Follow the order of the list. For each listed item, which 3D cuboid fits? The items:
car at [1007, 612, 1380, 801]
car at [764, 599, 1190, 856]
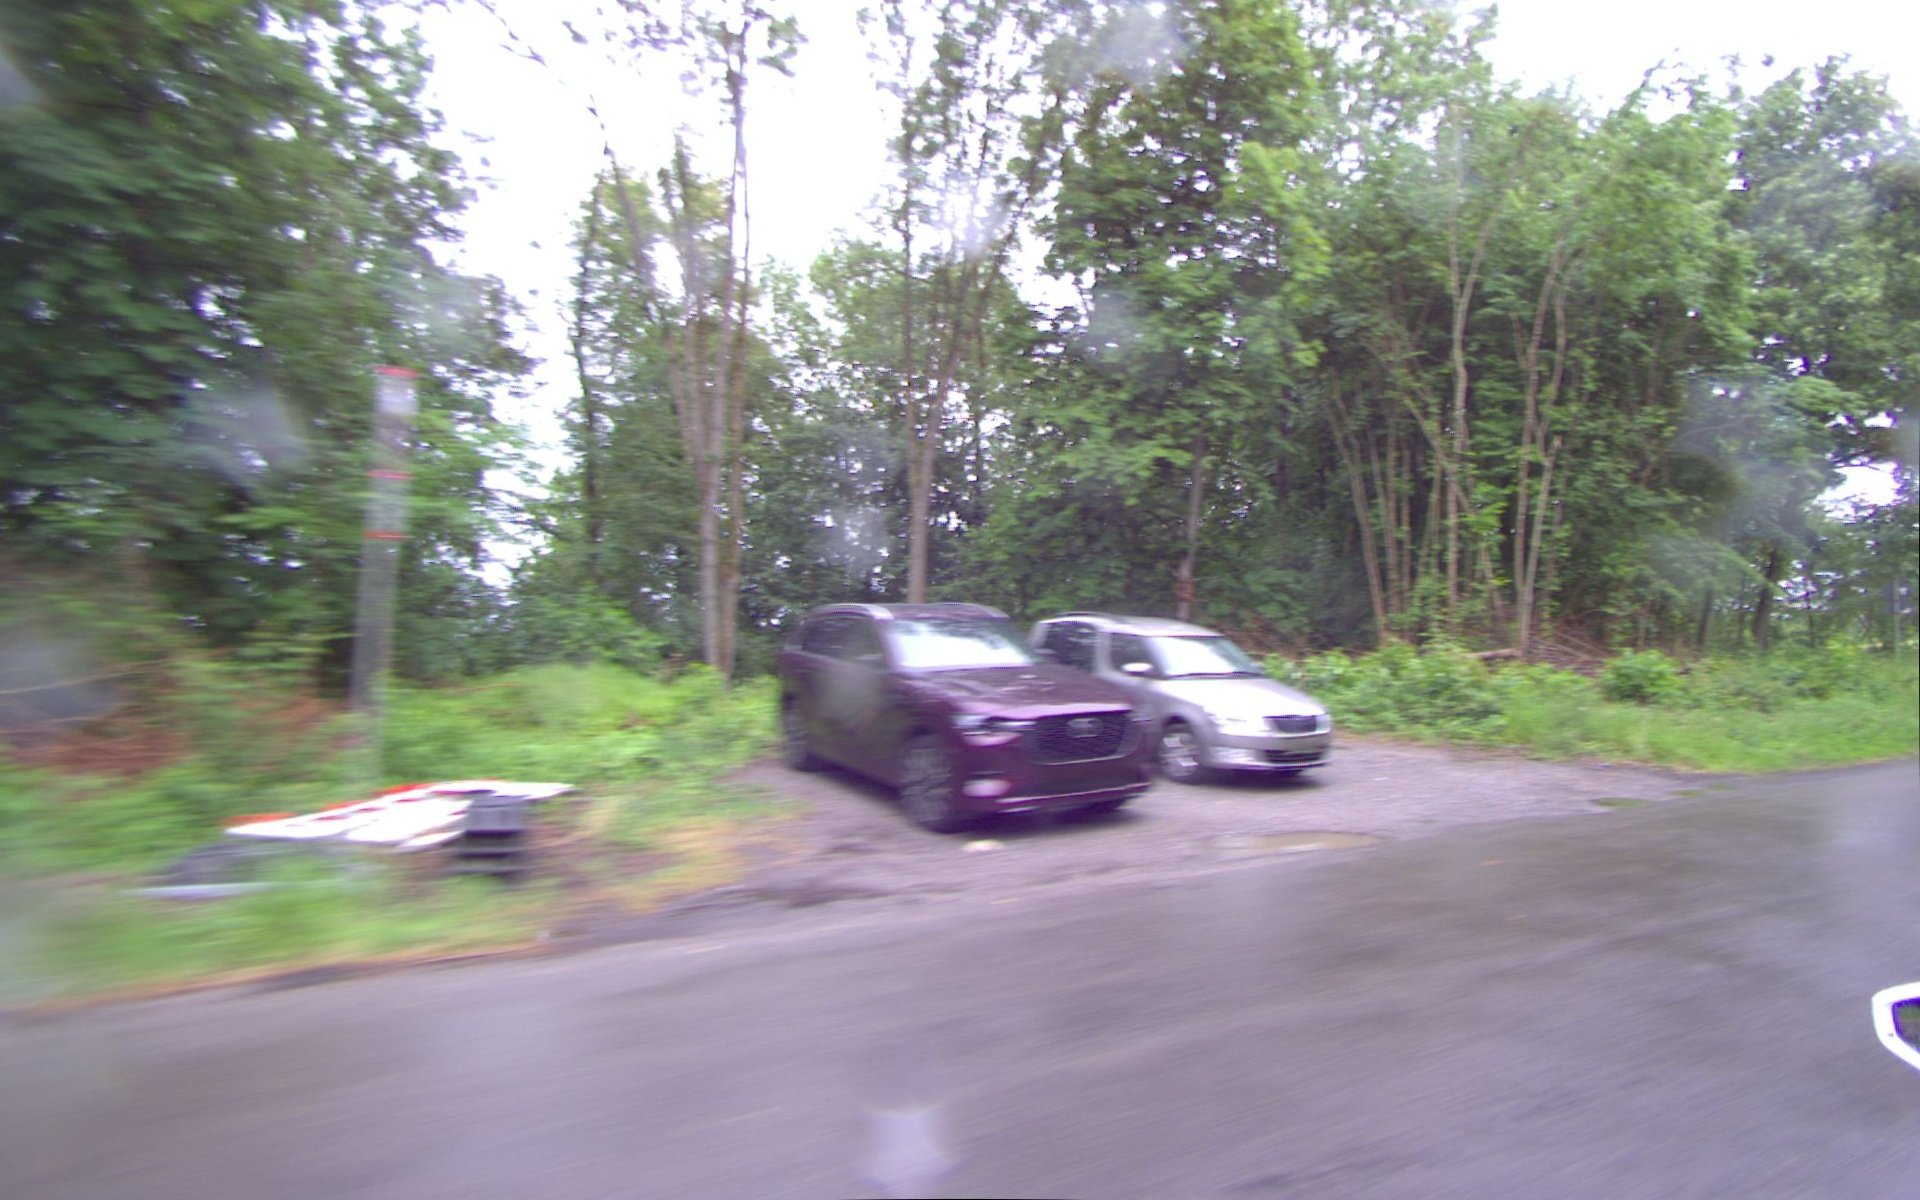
[{"bbox_3d":[2.289,0.951,10.977,1.751,1.575,4.120,0,0,-27],"label":"car"},{"bbox_3d":[-0.197,0.858,9.304,1.853,1.700,4.804,0,0,-28],"label":"car"}]
